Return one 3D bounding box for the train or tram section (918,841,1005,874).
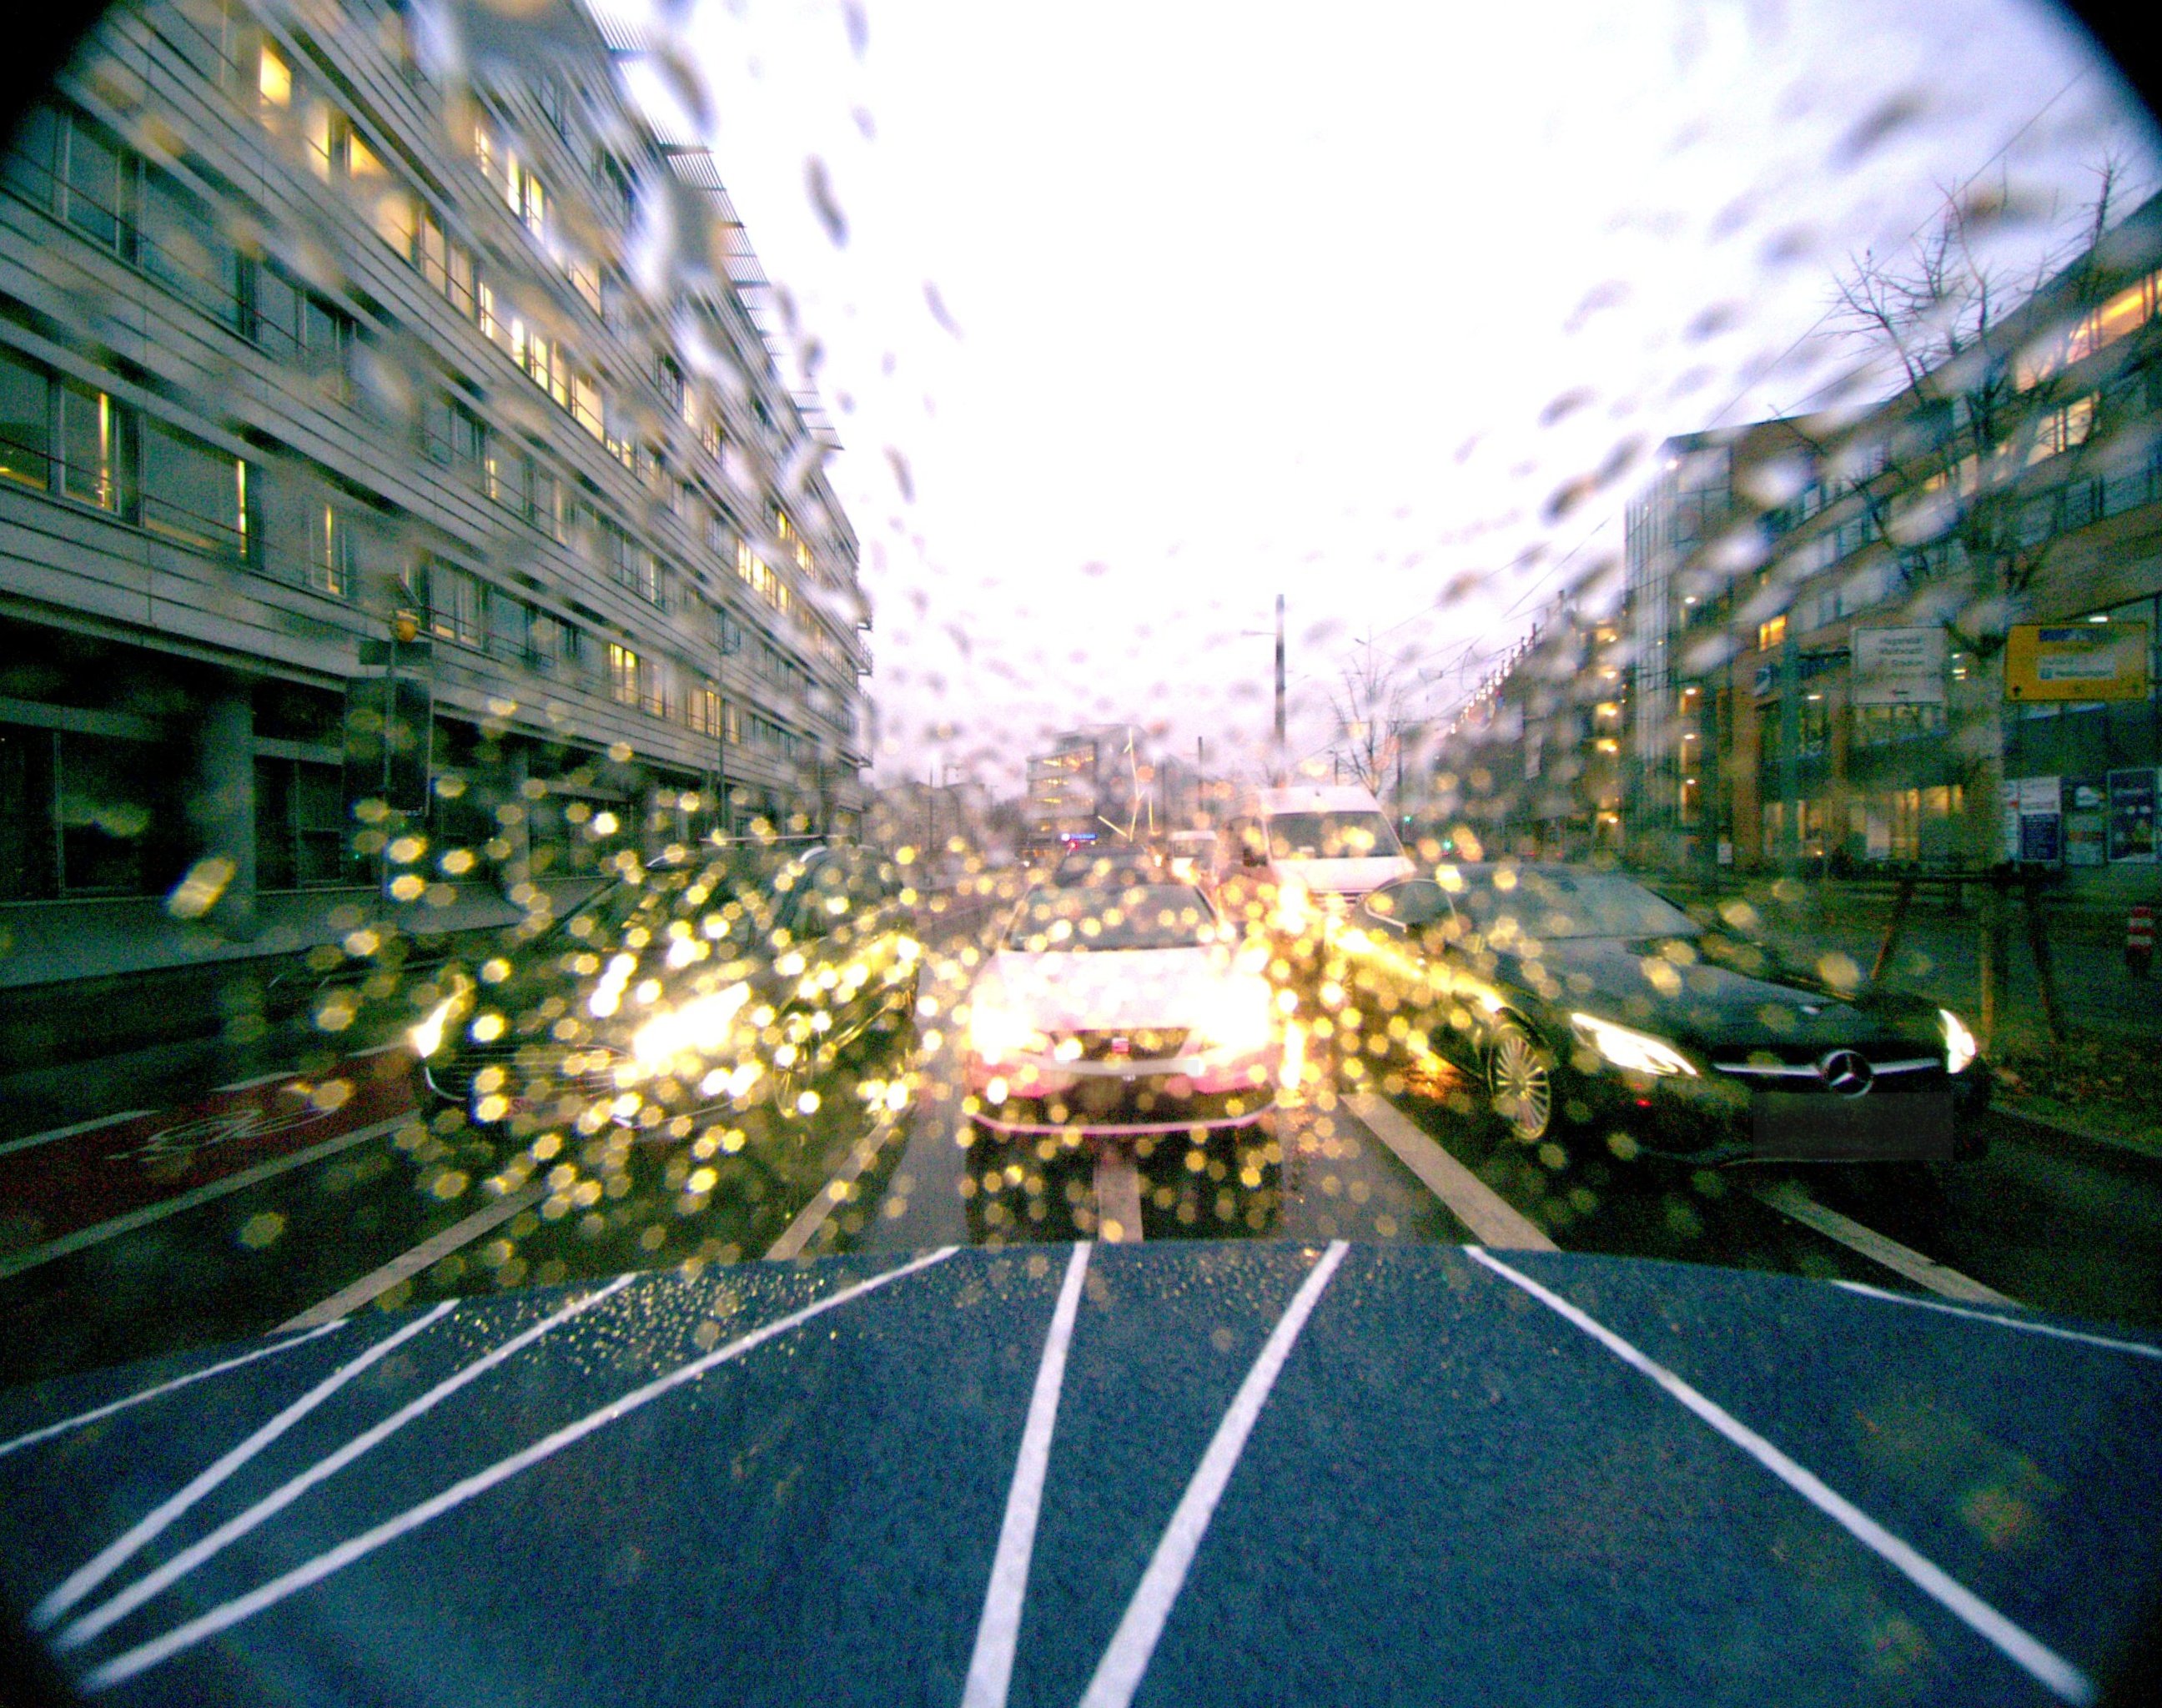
[{"bbox_3d":[-19.531,0.539,124.072,13.361,4.774,3.743,-2,1,15],"label":"train or tram section"}]

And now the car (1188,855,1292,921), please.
[{"bbox_3d":[3.838,0.767,18.999,1.824,1.391,3.952,-2,0,2],"label":"car"}]

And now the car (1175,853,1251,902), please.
[{"bbox_3d":[4.180,0.692,24.567,1.824,1.391,3.952,-2,0,2],"label":"car"}]

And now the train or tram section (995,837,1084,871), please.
[{"bbox_3d":[-6.589,0.031,120.603,13.359,4.904,3.743,-2,1,17],"label":"train or tram section"}]

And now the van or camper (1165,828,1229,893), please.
[{"bbox_3d":[4.627,0.210,31.082,2.184,2.339,5.651,-2,0,5],"label":"van or camper"}]

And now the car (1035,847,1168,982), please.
[{"bbox_3d":[0.329,0.793,11.851,1.684,1.723,3.714,-2,0,2],"label":"car"}]

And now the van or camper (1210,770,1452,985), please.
[{"bbox_3d":[3.524,0.253,12.133,2.061,2.533,5.885,-2,1,2],"label":"van or camper"}]

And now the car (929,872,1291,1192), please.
[{"bbox_3d":[0.209,0.959,5.954,1.773,1.449,4.222,-2,0,2],"label":"car"}]

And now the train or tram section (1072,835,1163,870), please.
[{"bbox_3d":[5.524,-0.239,115.569,13.351,4.832,3.745,-2,1,29],"label":"train or tram section"}]

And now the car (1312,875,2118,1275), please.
[{"bbox_3d":[3.037,0.905,4.989,1.824,1.324,4.225,-2,0,2],"label":"car"}]

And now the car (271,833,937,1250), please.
[{"bbox_3d":[-2.584,0.839,5.746,1.909,1.809,4.689,-2,0,1],"label":"car"}]
